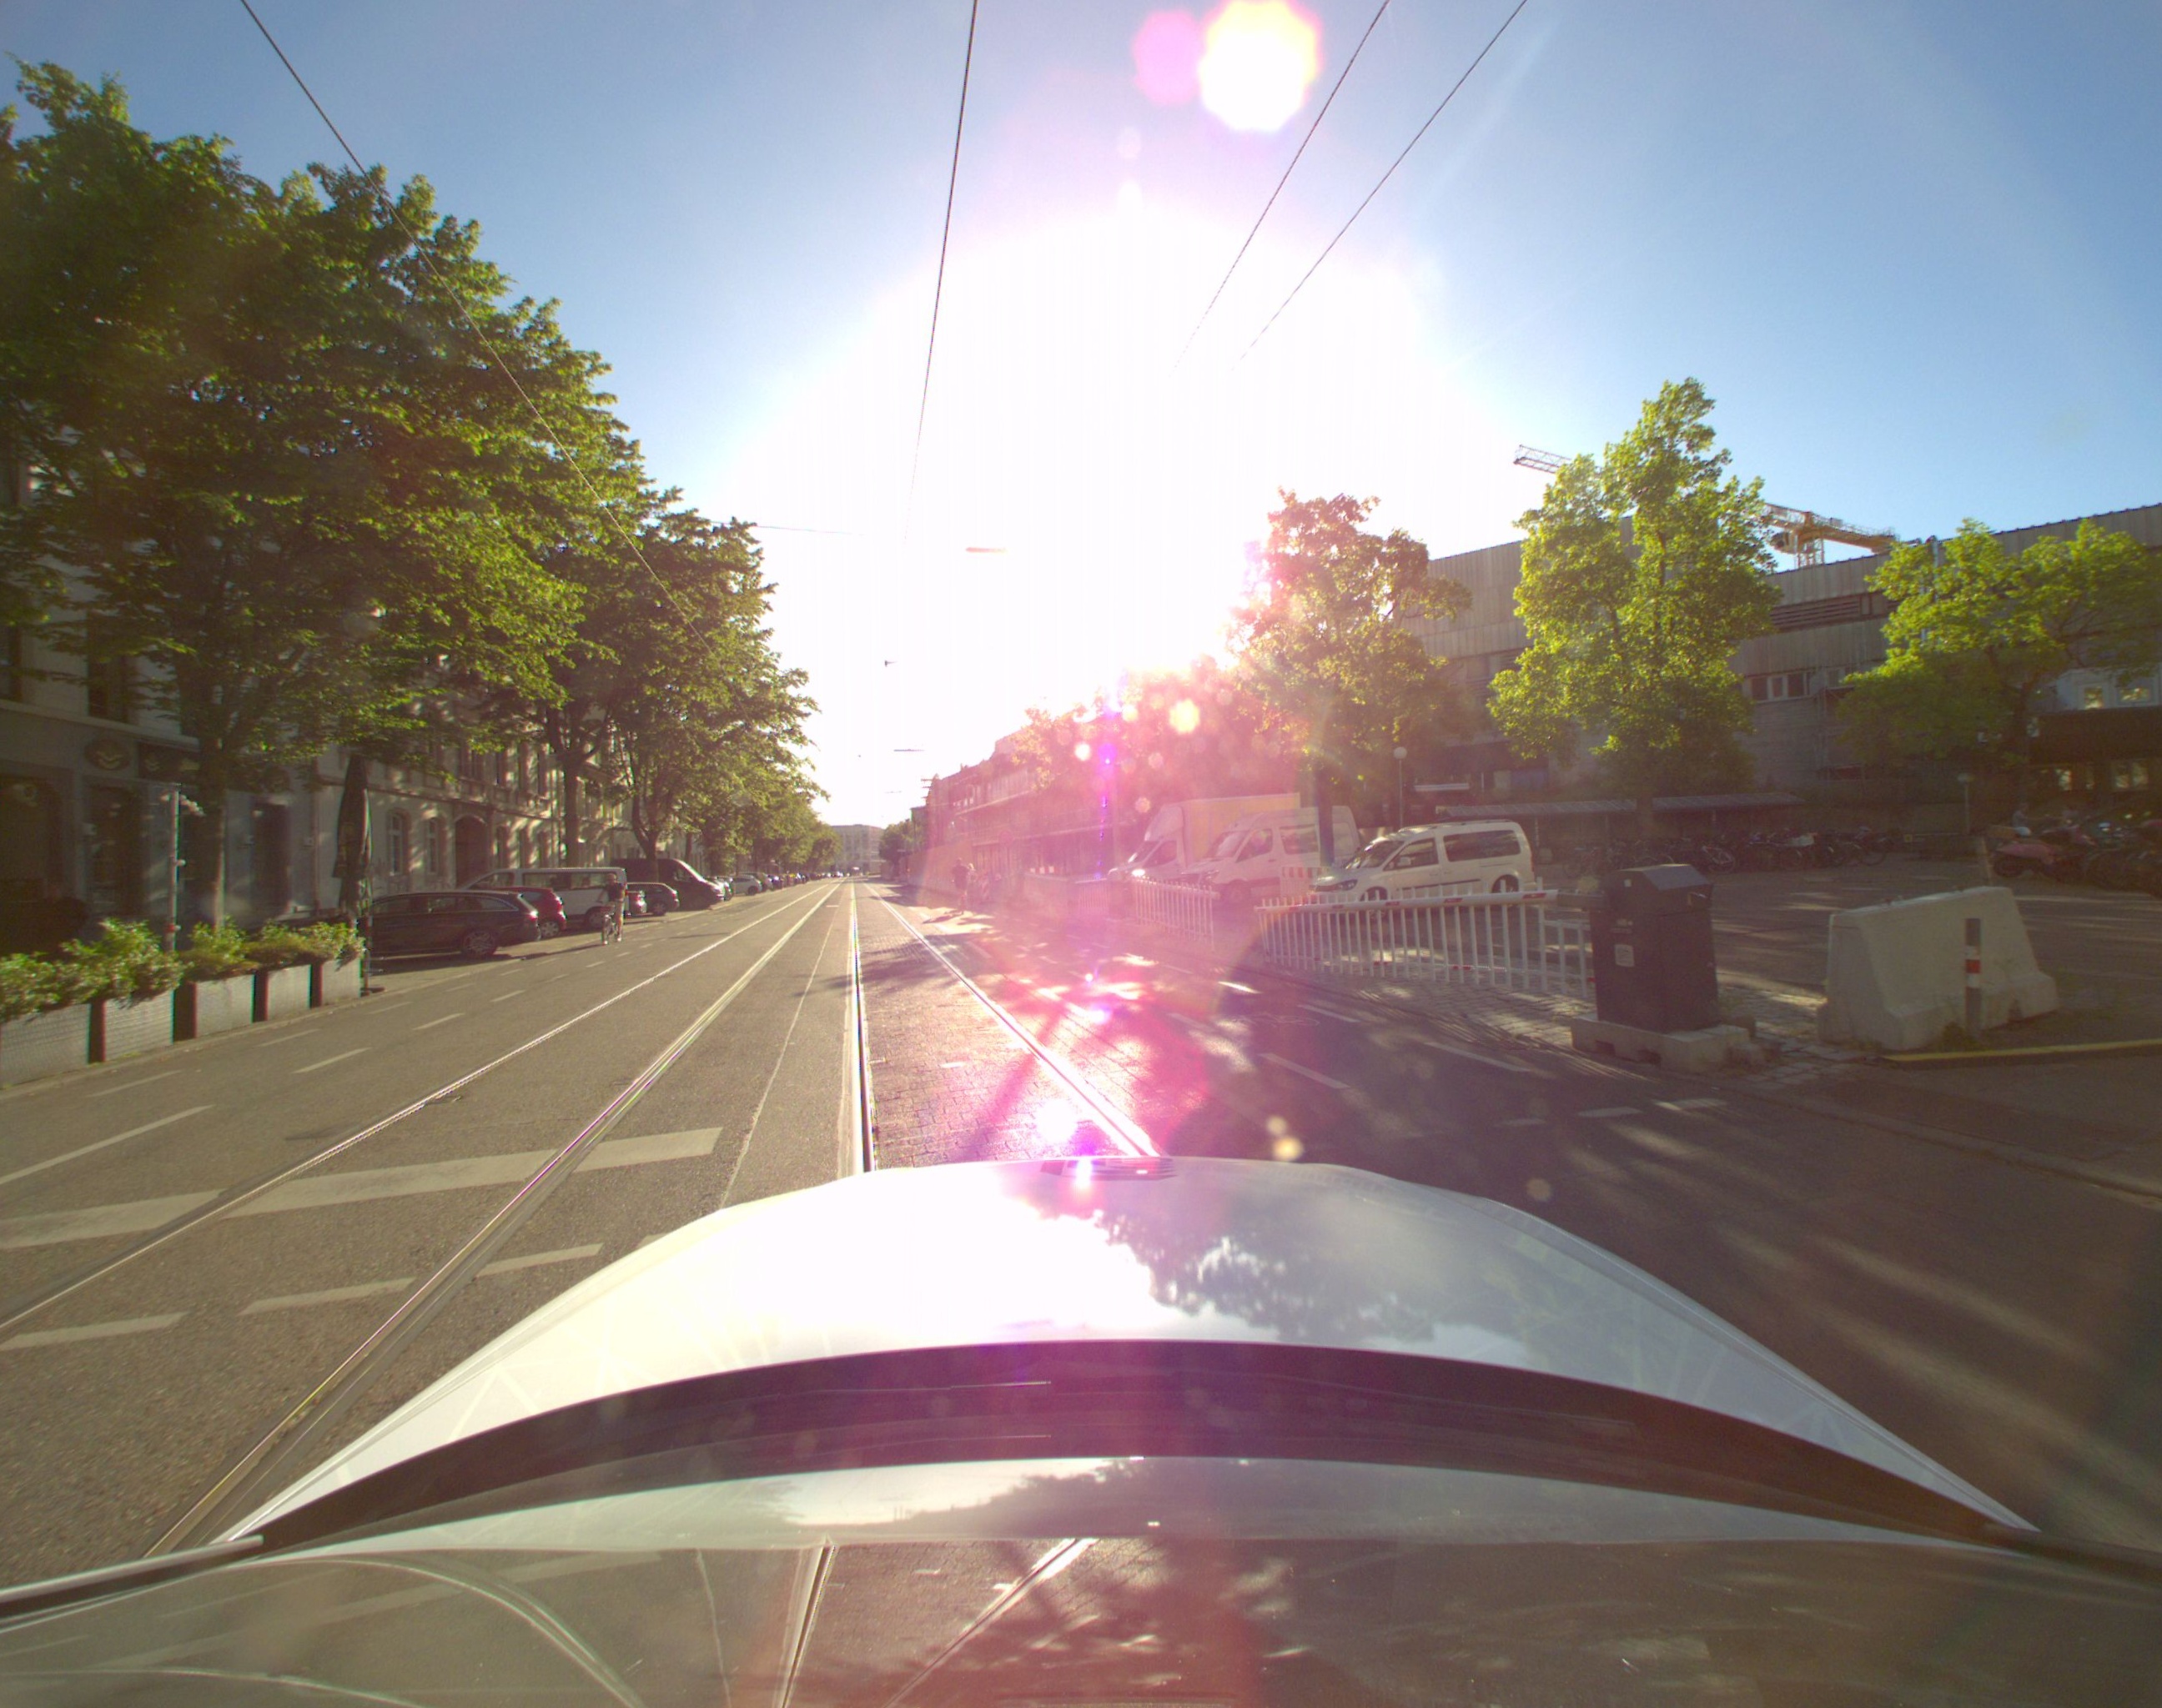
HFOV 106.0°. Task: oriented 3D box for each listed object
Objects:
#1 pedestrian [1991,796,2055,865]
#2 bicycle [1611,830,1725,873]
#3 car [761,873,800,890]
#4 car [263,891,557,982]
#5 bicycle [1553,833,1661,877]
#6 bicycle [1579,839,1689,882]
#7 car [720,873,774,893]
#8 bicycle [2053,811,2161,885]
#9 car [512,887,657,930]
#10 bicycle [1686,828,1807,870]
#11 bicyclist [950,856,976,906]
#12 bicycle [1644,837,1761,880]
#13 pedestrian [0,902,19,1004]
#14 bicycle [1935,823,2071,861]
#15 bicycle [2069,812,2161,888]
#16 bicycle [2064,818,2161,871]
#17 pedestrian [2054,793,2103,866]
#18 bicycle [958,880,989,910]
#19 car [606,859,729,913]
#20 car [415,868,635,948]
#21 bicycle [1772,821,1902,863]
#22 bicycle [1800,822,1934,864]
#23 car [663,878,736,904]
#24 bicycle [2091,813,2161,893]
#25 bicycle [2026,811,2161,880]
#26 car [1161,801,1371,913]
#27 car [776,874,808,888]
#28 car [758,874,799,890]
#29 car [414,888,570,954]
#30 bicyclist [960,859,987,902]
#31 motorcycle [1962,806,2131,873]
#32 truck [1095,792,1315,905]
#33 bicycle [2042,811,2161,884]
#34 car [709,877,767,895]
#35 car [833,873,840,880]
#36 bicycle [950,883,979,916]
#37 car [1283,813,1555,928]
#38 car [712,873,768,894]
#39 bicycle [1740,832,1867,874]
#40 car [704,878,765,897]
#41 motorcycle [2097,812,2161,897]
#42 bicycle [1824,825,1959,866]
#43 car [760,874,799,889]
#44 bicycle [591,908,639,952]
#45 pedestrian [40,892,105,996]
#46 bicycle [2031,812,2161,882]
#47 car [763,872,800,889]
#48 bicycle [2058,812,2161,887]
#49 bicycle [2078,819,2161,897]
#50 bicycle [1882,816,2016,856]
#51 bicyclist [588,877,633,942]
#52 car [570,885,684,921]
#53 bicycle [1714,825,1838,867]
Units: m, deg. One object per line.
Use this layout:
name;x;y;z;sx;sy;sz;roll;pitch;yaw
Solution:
pedestrian;28.364;-0.692;24.535;0.934;2.014;0.801;-3;-1;-6
bicycle;17.269;-0.036;24.108;0.818;1.147;3.081;-3;-1;-7
car;-37.197;3.385;100.918;4.119;2.055;1.807;2;-3;-38
car;-14.130;1.659;17.483;4.668;1.491;1.669;-1;-1;-39
bicycle;15.177;0.048;23.666;0.818;1.147;3.081;-3;-1;-7
bicycle;16.147;0.204;23.924;0.818;1.147;3.081;-3;-1;-7
car;-29.744;2.551;72.493;4.119;1.754;1.807;2;-3;-38
bicycle;18.972;-0.112;14.493;2.023;1.257;0.547;-3;-1;37
car;-17.429;1.877;28.834;4.105;1.420;1.814;1;-2;-24
bicycle;19.875;-0.129;24.467;0.818;1.147;3.081;-3;-1;-7
bicyclist;-4.058;0.920;27.981;0.682;1.658;0.807;-2;-1;-17
bicycle;18.349;0.145;24.192;0.818;1.147;3.081;-3;-1;-7
pedestrian;-17.702;1.613;13.069;0.539;1.643;0.566;-3;-1;-19
bicycle;30.958;-0.361;27.456;0.818;1.147;3.081;-3;-1;-7
bicycle;18.272;-0.087;13.682;2.023;1.257;0.474;-3;-1;37
bicycle;23.986;-0.224;18.022;0.818;1.147;2.832;-3;-1;-7
pedestrian;28.823;-0.700;23.551;1.036;2.014;0.793;-2;-1;-40
bicycle;-4.258;1.602;32.154;0.894;1.093;2.417;-1;-1;-15
car;-20.669;1.600;41.009;5.197;2.578;2.231;1;-2;-20
car;-16.977;1.554;25.062;5.375;1.991;2.015;-2;0;-40
bicycle;22.966;-0.315;24.867;0.818;1.147;3.081;-3;-1;-7
bicycle;23.940;-0.294;24.930;0.818;1.147;3.081;-3;-1;-7
car;-24.458;2.344;52.379;4.104;1.608;1.814;1;-2;-23
bicycle;17.681;-0.044;12.890;2.023;1.257;0.474;-3;-1;37
bicycle;20.093;-0.159;15.903;2.023;1.257;0.547;-3;-1;37
car;5.228;0.038;23.011;5.381;2.530;1.987;-6;0;-19
car;-43.076;4.056;121.341;4.119;2.055;1.807;2;-3;-38
car;-35.270;3.247;94.975;4.119;1.754;1.807;2;-3;-38
car;-16.130;1.782;22.387;3.341;1.503;1.669;-2;-1;-38
bicyclist;-4.261;1.022;32.148;0.895;1.640;1.094;-1;-1;-16
motorcycle;20.353;-0.283;17.239;2.183;1.257;0.547;-3;-1;37
truck;4.335;-0.238;28.619;7.113;3.347;2.377;-4;0;-16
bicycle;19.327;-0.127;14.973;2.023;1.257;0.547;-3;-1;37
car;-28.548;2.629;67.779;4.118;1.453;1.808;2;-3;-36
car;-65.389;6.114;217.539;1.686;1.838;3.846;1;-2;-19
bicycle;-3.991;1.539;27.845;0.682;1.018;1.910;-2;-1;-17
car;7.042;0.298;17.152;4.933;1.892;2.003;-4;0;-11
car;-29.360;2.572;70.202;4.119;1.754;1.807;2;-3;-38
bicycle;21.793;-0.012;24.703;0.818;1.147;3.081;-3;-1;-7
car;-26.964;2.592;63.400;4.118;1.453;1.808;2;-3;-36
motorcycle;16.920;-0.033;12.086;2.183;1.257;0.547;-3;-1;37
bicycle;24.860;-0.234;25.110;0.818;1.147;3.081;-3;-1;-7
car;-36.303;3.315;98.137;4.119;1.754;1.807;2;-3;-38
bicycle;-11.836;1.898;20.720;0.611;0.953;1.873;-2;-1;-17
pedestrian;-17.351;1.524;14.022;0.507;1.715;0.534;-3;-1;-30
bicycle;19.688;-0.132;15.460;2.023;1.257;0.547;-3;-1;37
car;-38.528;3.428;104.921;4.119;2.055;1.807;2;-3;-38
bicycle;18.579;-0.094;14.097;2.023;1.257;0.474;-3;-1;37
bicycle;17.966;0.045;13.296;2.023;1.257;0.474;-3;-1;37
bicycle;28.146;-0.551;26.526;0.818;1.147;3.081;-3;-1;-7
bicyclist;-11.973;1.397;20.752;0.726;1.572;1.023;-2;-1;-17
car;-19.354;2.044;34.760;4.115;1.420;1.809;1;-2;-33
bicycle;20.893;-0.198;24.626;0.818;1.147;3.081;-3;-1;-7
